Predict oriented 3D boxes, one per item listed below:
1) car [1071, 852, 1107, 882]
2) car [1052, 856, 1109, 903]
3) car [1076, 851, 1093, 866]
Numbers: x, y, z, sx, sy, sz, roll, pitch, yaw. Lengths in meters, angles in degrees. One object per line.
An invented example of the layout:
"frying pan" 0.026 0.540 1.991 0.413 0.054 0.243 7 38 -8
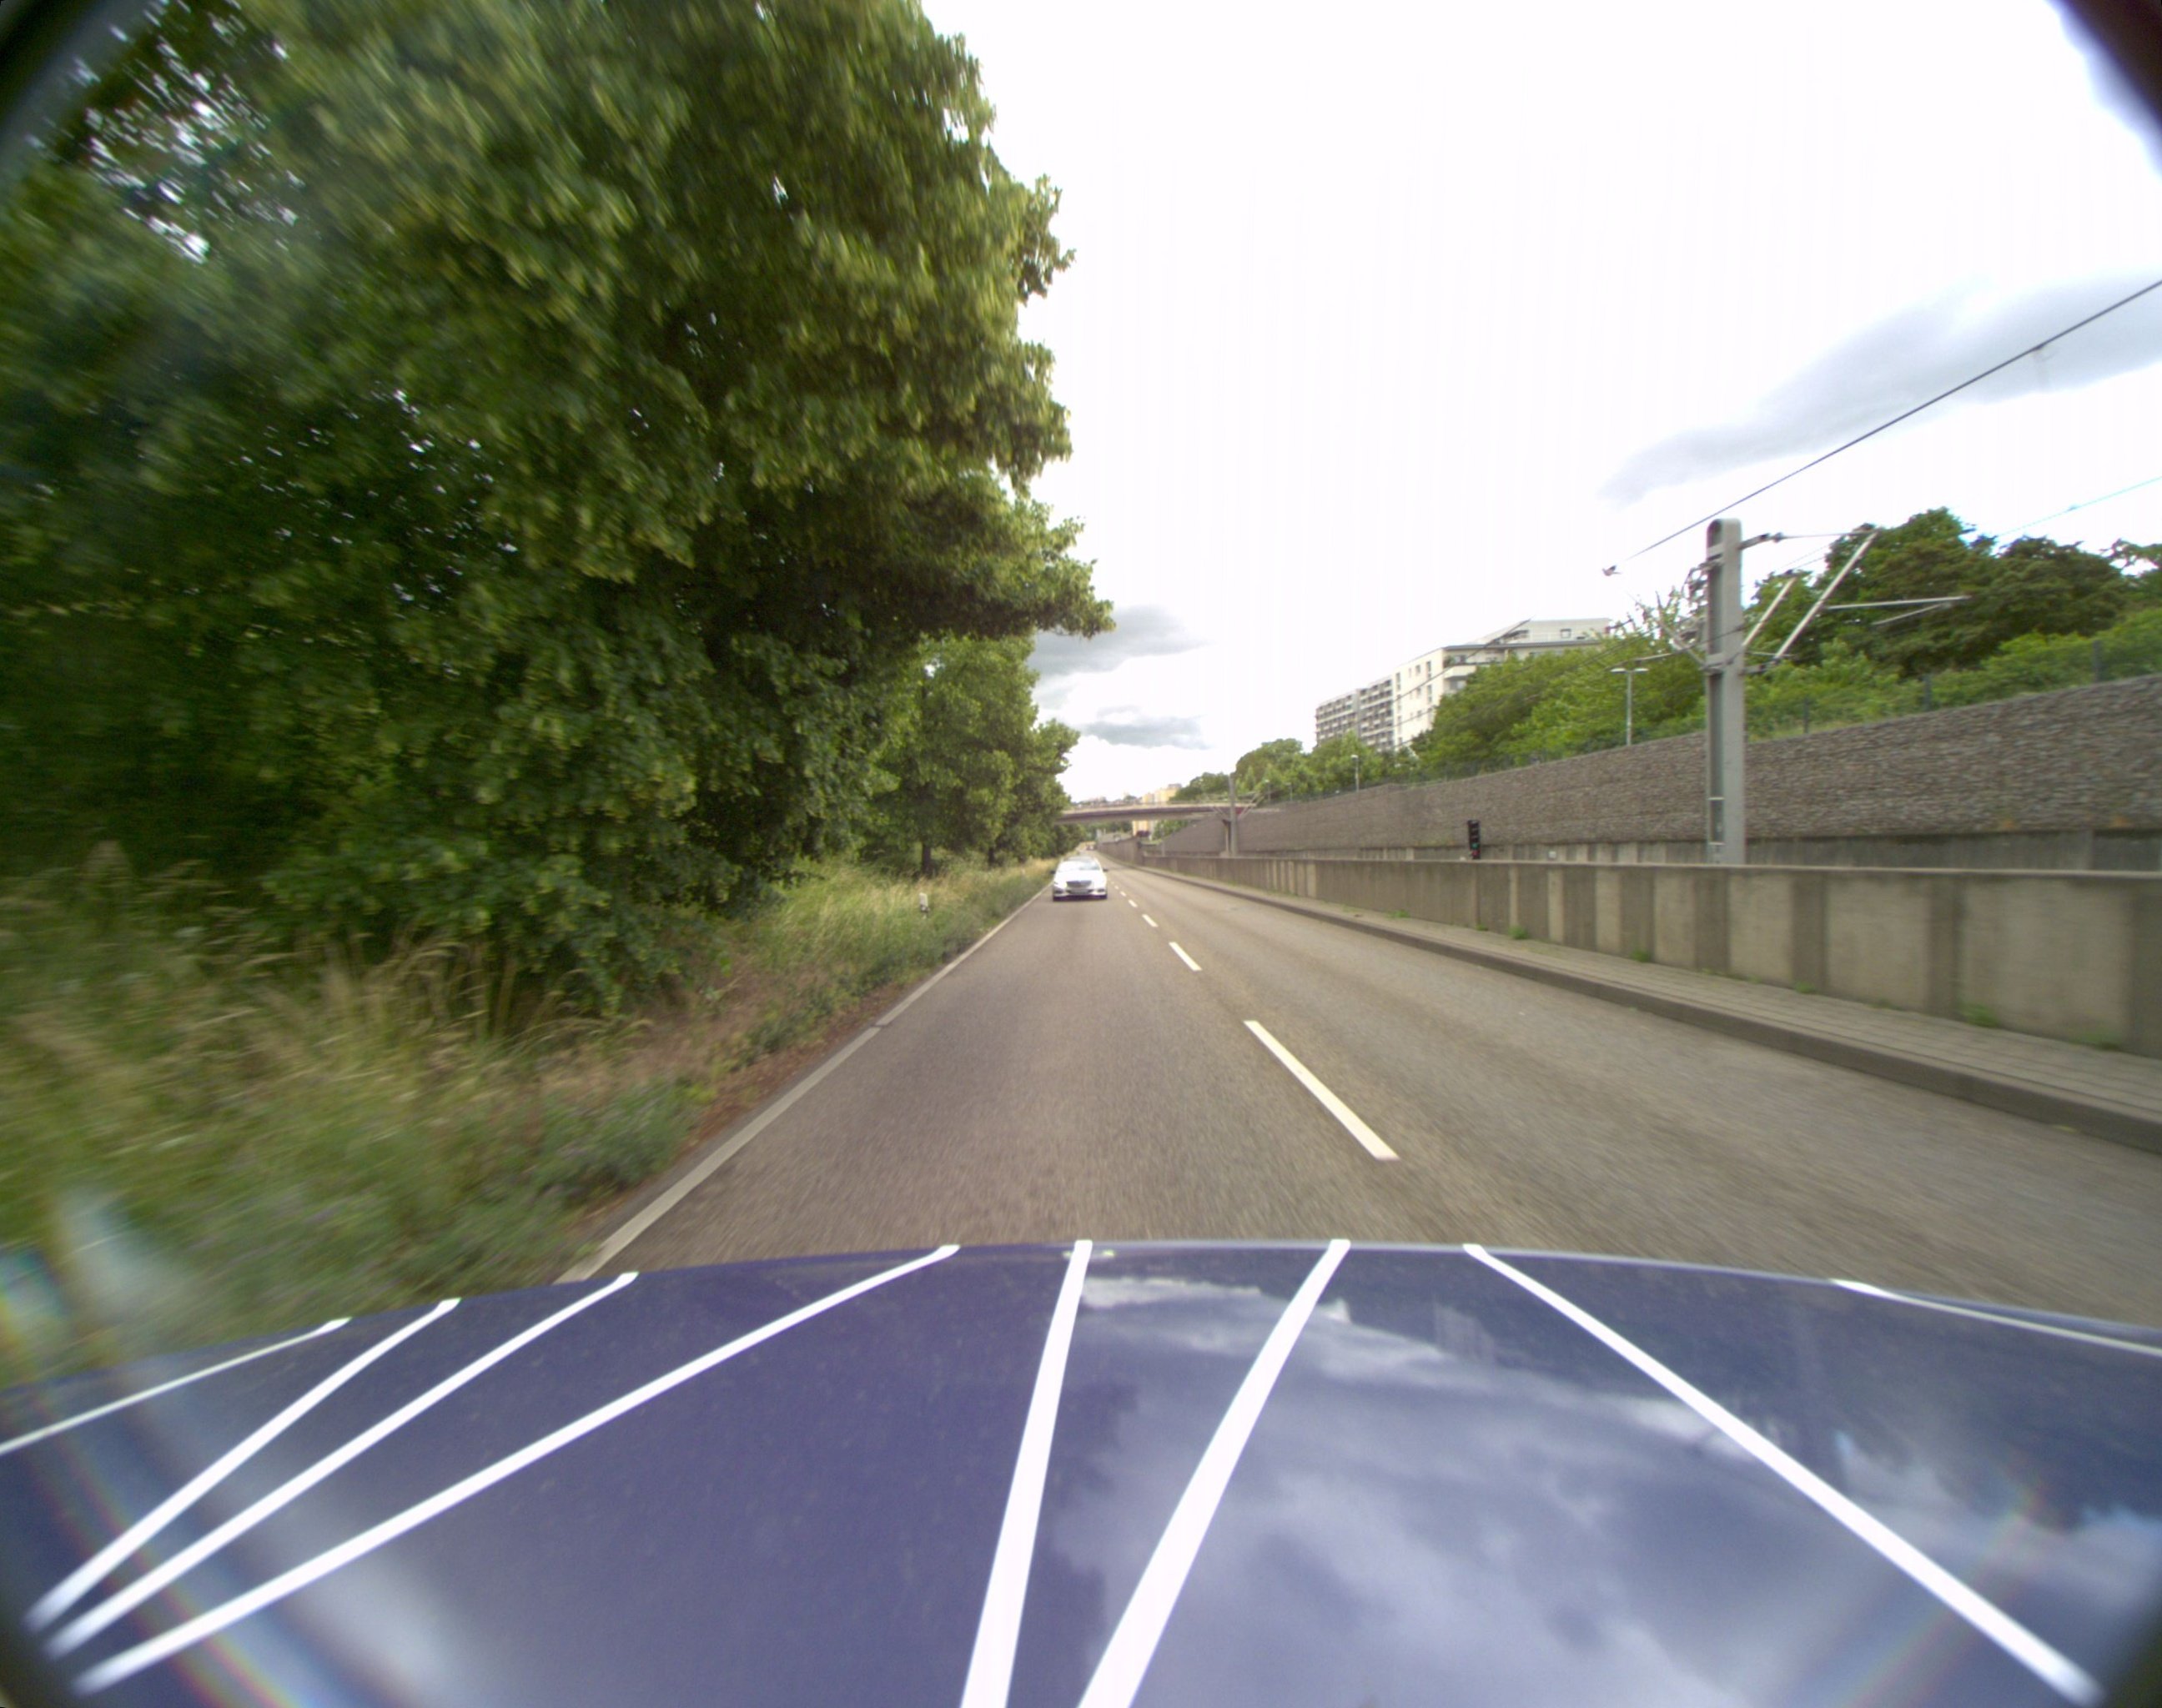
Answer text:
"car" 0.436 0.677 42.077 1.878 1.459 3.999 -2 1 1
"car" 0.006 0.862 27.392 1.842 1.499 4.160 -1 0 1
"car" 0.491 0.537 95.179 1.998 1.746 4.000 -2 1 1
